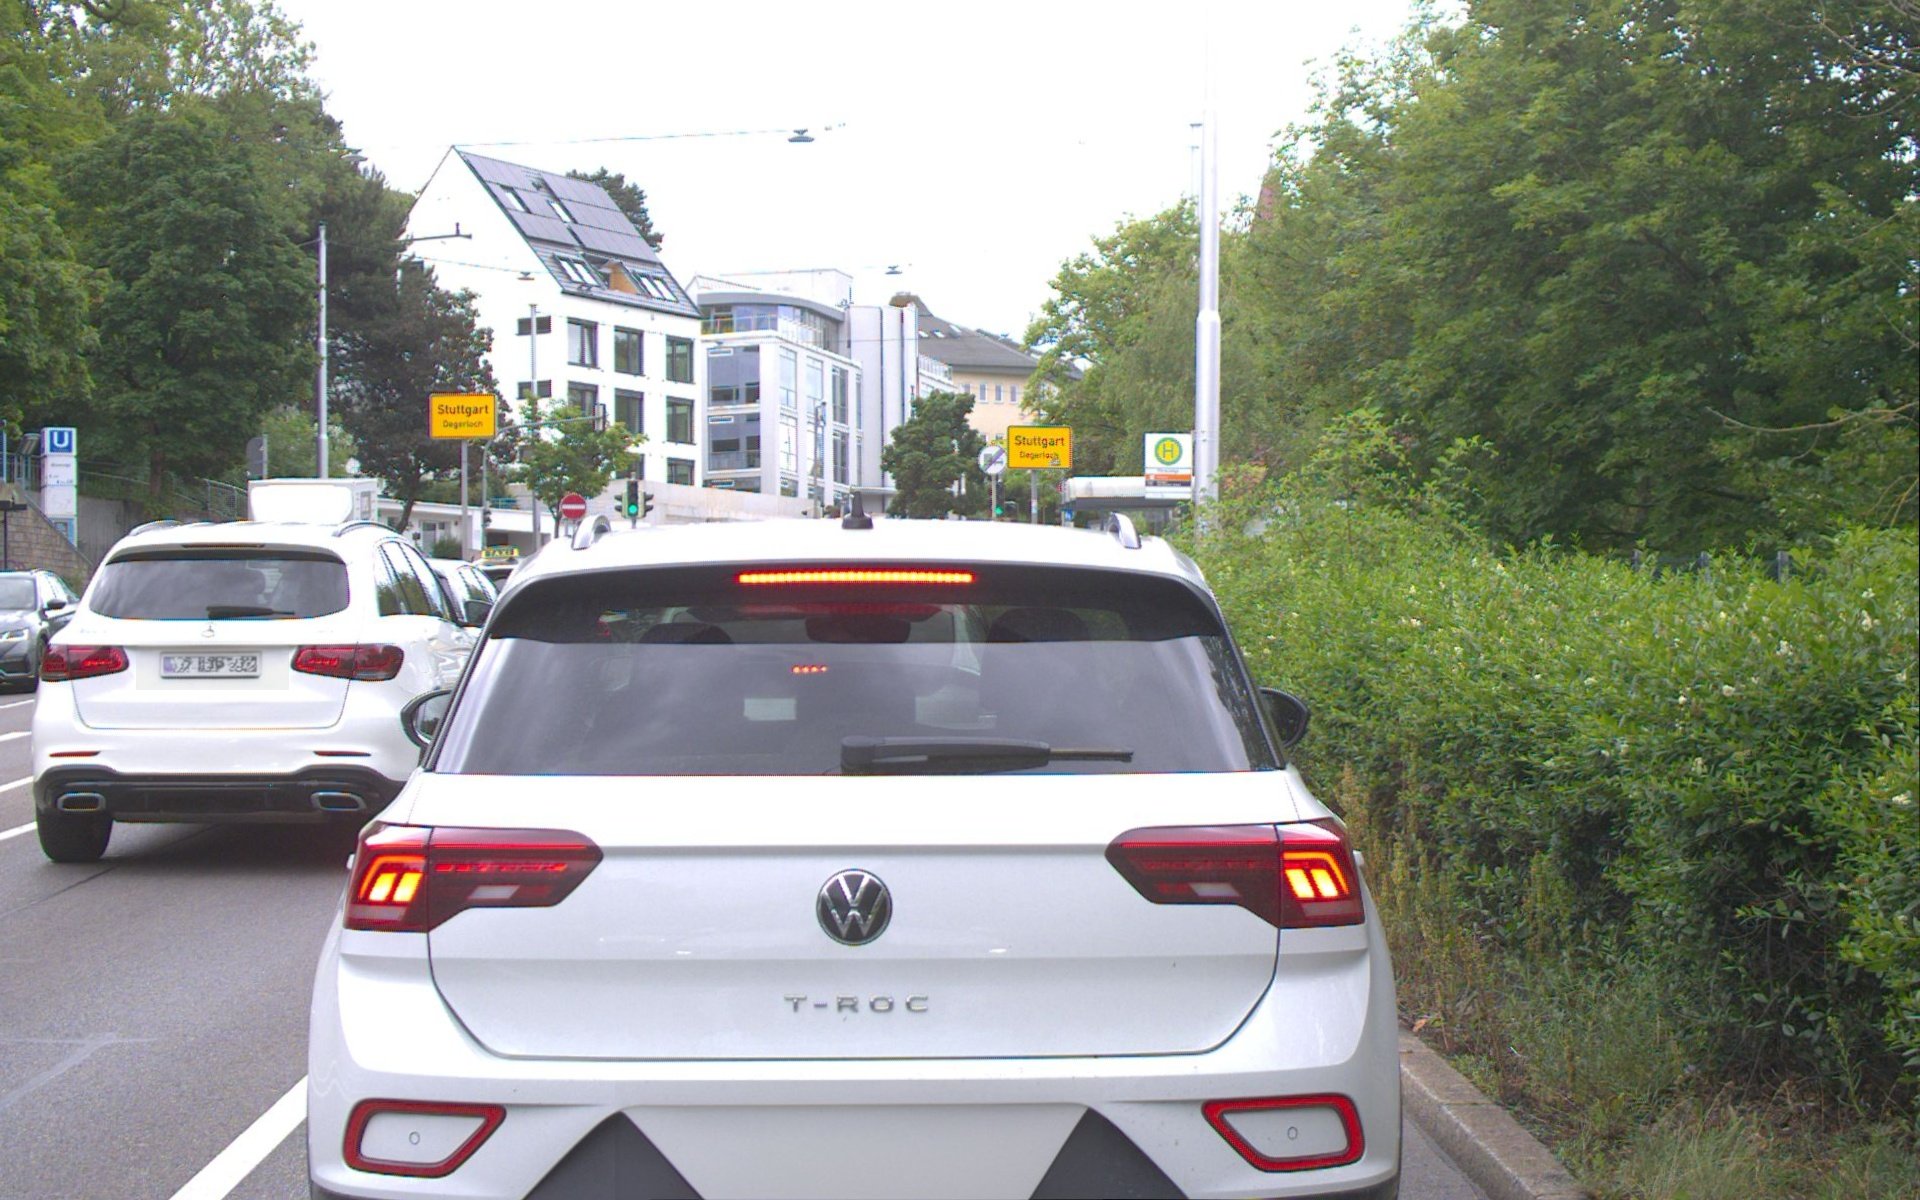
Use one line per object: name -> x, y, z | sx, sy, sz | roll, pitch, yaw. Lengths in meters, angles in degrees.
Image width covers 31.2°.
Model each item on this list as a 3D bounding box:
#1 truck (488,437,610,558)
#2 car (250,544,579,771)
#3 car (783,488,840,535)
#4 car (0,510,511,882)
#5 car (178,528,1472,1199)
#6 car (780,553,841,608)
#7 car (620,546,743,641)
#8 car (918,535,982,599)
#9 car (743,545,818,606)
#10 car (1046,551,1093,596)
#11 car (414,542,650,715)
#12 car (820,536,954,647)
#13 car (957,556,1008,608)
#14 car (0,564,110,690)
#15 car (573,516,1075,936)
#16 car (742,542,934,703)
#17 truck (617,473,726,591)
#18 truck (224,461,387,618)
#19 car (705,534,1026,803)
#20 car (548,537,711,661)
truck -> -9.626, -2.390, 80.778 | 2.362, 2.697, 4.478 | -2, 1, -1
car -> -3.885, 0.355, 25.095 | 1.829, 1.492, 4.000 | -1, 1, -1
car -> -5.033, -3.004, 116.769 | 1.829, 1.520, 4.000 | -1, 1, -1
car -> -3.463, 0.404, 17.515 | 1.918, 1.664, 4.000 | 0, 1, -1
car -> -0.236, 0.632, 6.879 | 1.829, 1.520, 4.000 | 0, 1, -1
car -> -4.734, -0.639, 109.435 | 1.815, 1.651, 3.929 | -2, 1, -1
car -> -4.688, -0.134, 58.343 | 1.829, 1.520, 4.000 | -1, 1, -1
car -> -0.332, -1.062, 110.476 | 1.993, 2.007, 4.000 | -1, 1, -1
car -> -4.664, -0.647, 89.591 | 1.829, 1.520, 4.000 | -1, 1, -1
car -> 5.108, -1.206, 160.850 | 1.993, 2.007, 4.000 | -1, 0, 0
car -> -4.017, 0.225, 32.845 | 1.829, 1.520, 4.000 | -1, 1, -1
car -> -1.063, -0.150, 49.794 | 1.829, 1.520, 4.000 | -1, 1, -1
car -> 0.898, -0.721, 140.435 | 1.993, 2.007, 4.000 | -1, 0, 0
car -> -11.442, 0.305, 40.788 | 1.679, 1.390, 4.361 | -2, 1, -1
car -> -0.552, 0.434, 14.724 | 1.829, 1.520, 4.000 | -1, 1, -1
car -> -1.228, 0.185, 35.198 | 1.829, 1.520, 4.000 | -1, 1, -1
truck -> -7.129, -1.682, 85.313 | 2.362, 2.772, 4.478 | -2, 1, -1
truck -> -13.446, -1.222, 71.059 | 2.293, 3.040, 6.980 | -1, 1, -3
car -> -0.595, 0.363, 21.826 | 1.829, 1.520, 4.000 | -1, 1, -1
car -> -4.273, -0.041, 44.955 | 1.829, 1.520, 4.000 | -1, 1, -1
